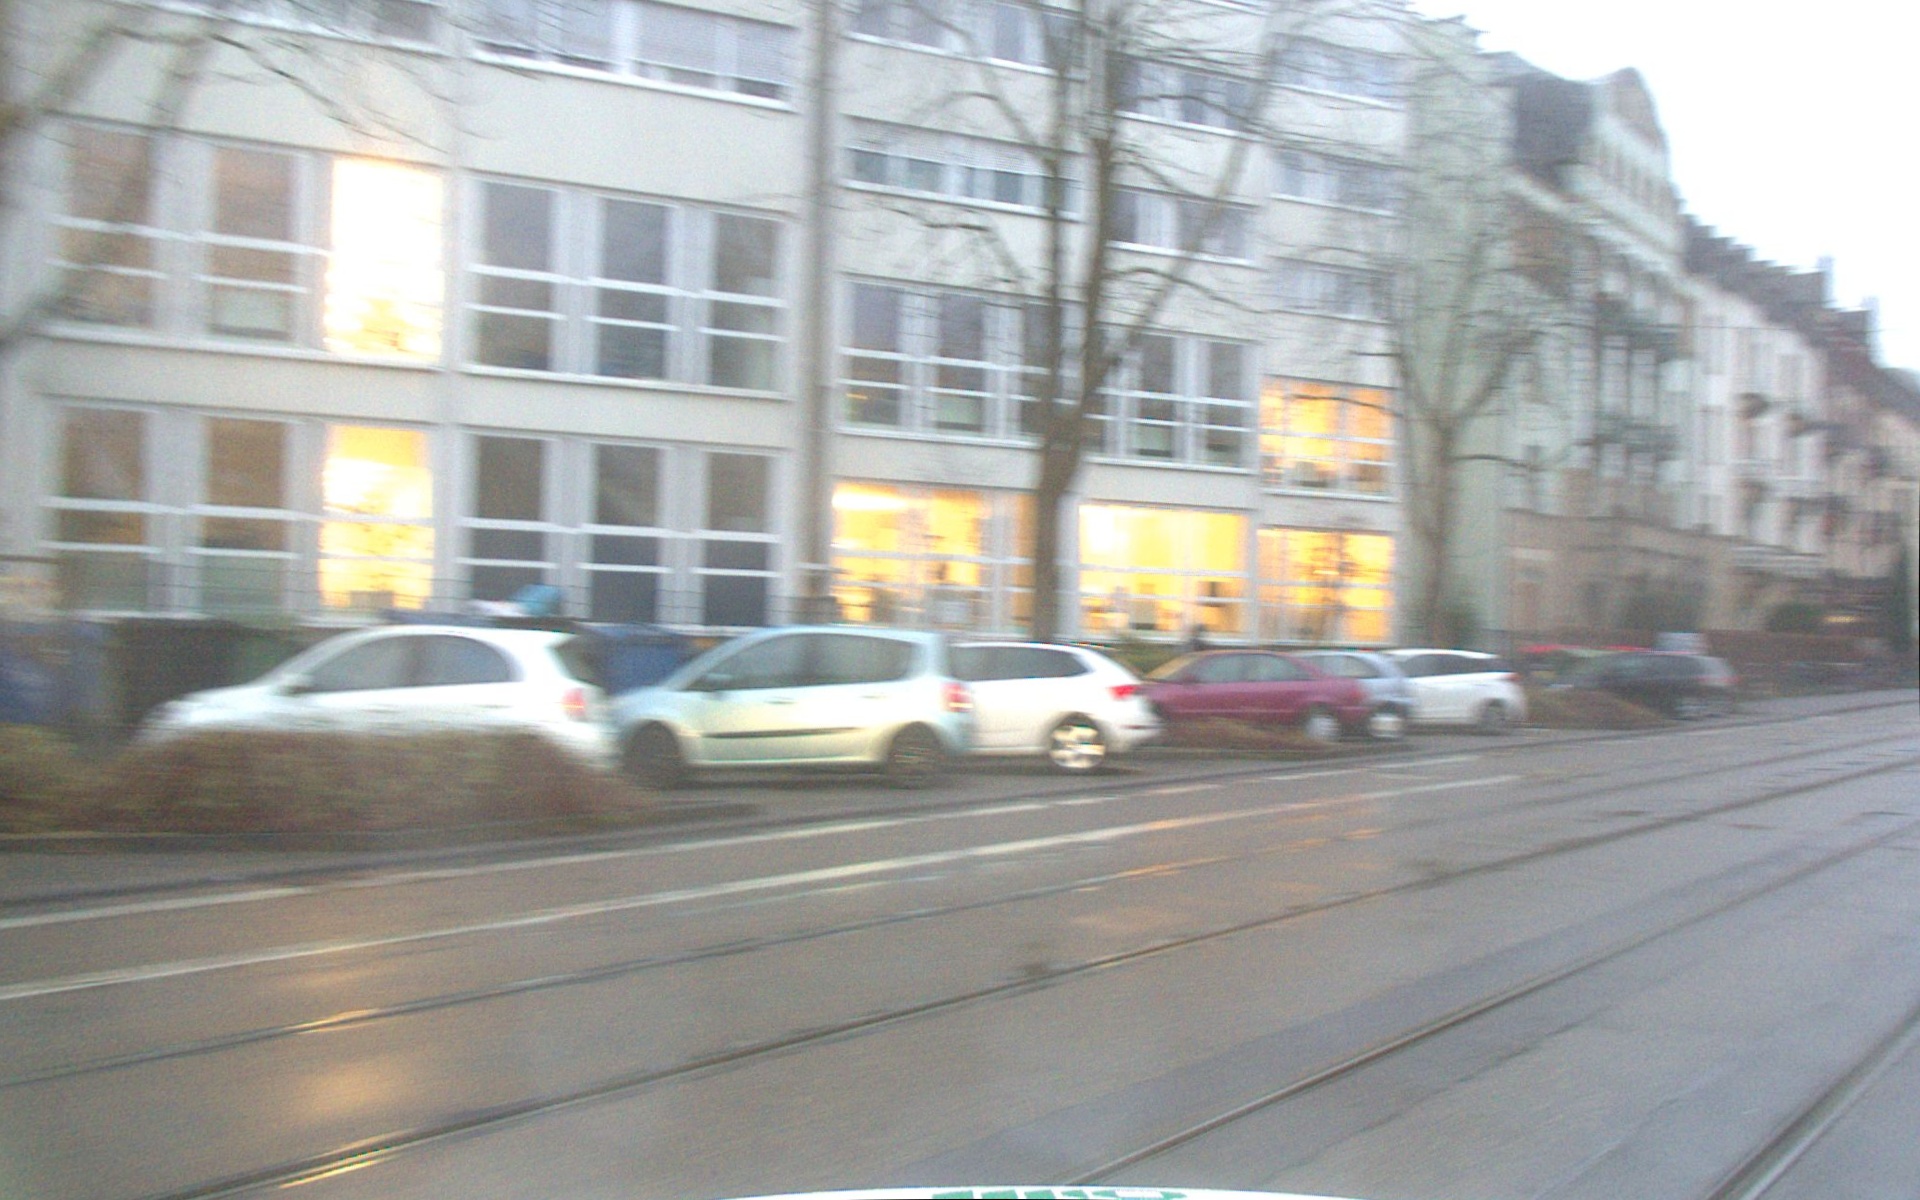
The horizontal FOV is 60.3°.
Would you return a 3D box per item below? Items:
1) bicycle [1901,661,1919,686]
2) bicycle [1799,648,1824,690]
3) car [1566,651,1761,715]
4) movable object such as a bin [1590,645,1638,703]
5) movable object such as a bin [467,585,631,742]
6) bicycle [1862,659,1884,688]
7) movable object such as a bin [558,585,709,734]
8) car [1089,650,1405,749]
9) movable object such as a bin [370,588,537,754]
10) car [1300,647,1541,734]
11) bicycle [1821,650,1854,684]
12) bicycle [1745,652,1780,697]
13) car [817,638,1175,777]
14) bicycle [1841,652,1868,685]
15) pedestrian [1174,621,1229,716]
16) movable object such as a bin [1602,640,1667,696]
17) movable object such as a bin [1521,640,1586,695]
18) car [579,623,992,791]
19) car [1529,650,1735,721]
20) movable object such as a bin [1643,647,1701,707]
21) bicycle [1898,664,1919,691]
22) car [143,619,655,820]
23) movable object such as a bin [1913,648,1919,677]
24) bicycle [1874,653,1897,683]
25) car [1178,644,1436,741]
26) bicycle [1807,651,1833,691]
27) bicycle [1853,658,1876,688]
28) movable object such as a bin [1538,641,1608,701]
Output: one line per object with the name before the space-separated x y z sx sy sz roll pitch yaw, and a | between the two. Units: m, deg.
bicycle | 44.386 3.397 76.163 1.773 1.099 0.614 0 -1 33
bicycle | 26.122 2.114 50.731 0.617 1.234 1.593 0 -1 30
car | 16.783 1.977 39.578 3.908 1.453 1.847 0 -1 -3
movable object such as a bin | 17.002 1.918 43.019 1.066 1.476 1.112 0 -1 18
movable object such as a bin | -5.206 0.768 20.958 1.546 1.892 1.386 -1 0 41
bicycle | 33.786 2.709 61.218 0.679 1.049 1.593 0 -2 30
movable object such as a bin | -4.340 0.754 21.989 1.546 1.892 1.310 -1 0 41
car | 4.151 1.427 24.237 4.253 1.376 1.746 0 -2 -9
movable object such as a bin | -6.084 0.815 19.879 1.546 1.892 1.310 -1 0 41
car | 8.110 1.580 29.294 3.766 1.448 1.734 0 -1 -6
bicycle | 29.945 2.289 56.460 0.681 1.049 1.586 -2 -6 40
bicycle | 22.975 2.133 47.354 0.680 1.234 1.591 -1 -1 34
car | 0.472 1.191 18.853 3.902 1.469 1.738 0 -2 6
bicycle | 31.311 2.404 57.907 0.680 1.049 1.591 -1 -6 34
pedestrian | 4.395 1.232 30.111 0.587 1.706 0.968 -1 -1 39
movable object such as a bin | 18.534 1.853 45.451 1.315 1.476 1.247 1 -1 -44
movable object such as a bin | 16.371 1.848 45.612 1.315 1.476 1.247 1 -1 -44
car | -1.683 1.032 16.642 3.907 1.591 1.736 0 -1 -3
car | 15.118 1.906 37.318 3.910 1.496 1.829 1 -1 -6
movable object such as a bin | 18.292 1.963 42.528 1.236 1.476 1.112 0 -1 17
bicycle | 38.332 3.128 66.739 0.615 1.035 1.797 -1 -2 37
car | -4.590 0.960 14.008 3.789 1.579 1.691 0 -1 -6
movable object such as a bin | 52.553 3.379 89.576 1.387 1.557 1.358 -1 -1 39
bicycle | 35.164 2.592 62.848 0.478 1.119 1.922 -1 -2 37
car | 5.535 1.471 26.749 3.903 1.489 1.737 0 -2 5
bicycle | 27.420 2.251 52.730 0.679 1.234 1.593 0 -1 30
bicycle | 32.567 2.616 59.525 0.679 1.049 1.593 0 -3 30
movable object such as a bin | 15.641 1.795 42.226 1.315 1.476 1.247 1 -1 -44
